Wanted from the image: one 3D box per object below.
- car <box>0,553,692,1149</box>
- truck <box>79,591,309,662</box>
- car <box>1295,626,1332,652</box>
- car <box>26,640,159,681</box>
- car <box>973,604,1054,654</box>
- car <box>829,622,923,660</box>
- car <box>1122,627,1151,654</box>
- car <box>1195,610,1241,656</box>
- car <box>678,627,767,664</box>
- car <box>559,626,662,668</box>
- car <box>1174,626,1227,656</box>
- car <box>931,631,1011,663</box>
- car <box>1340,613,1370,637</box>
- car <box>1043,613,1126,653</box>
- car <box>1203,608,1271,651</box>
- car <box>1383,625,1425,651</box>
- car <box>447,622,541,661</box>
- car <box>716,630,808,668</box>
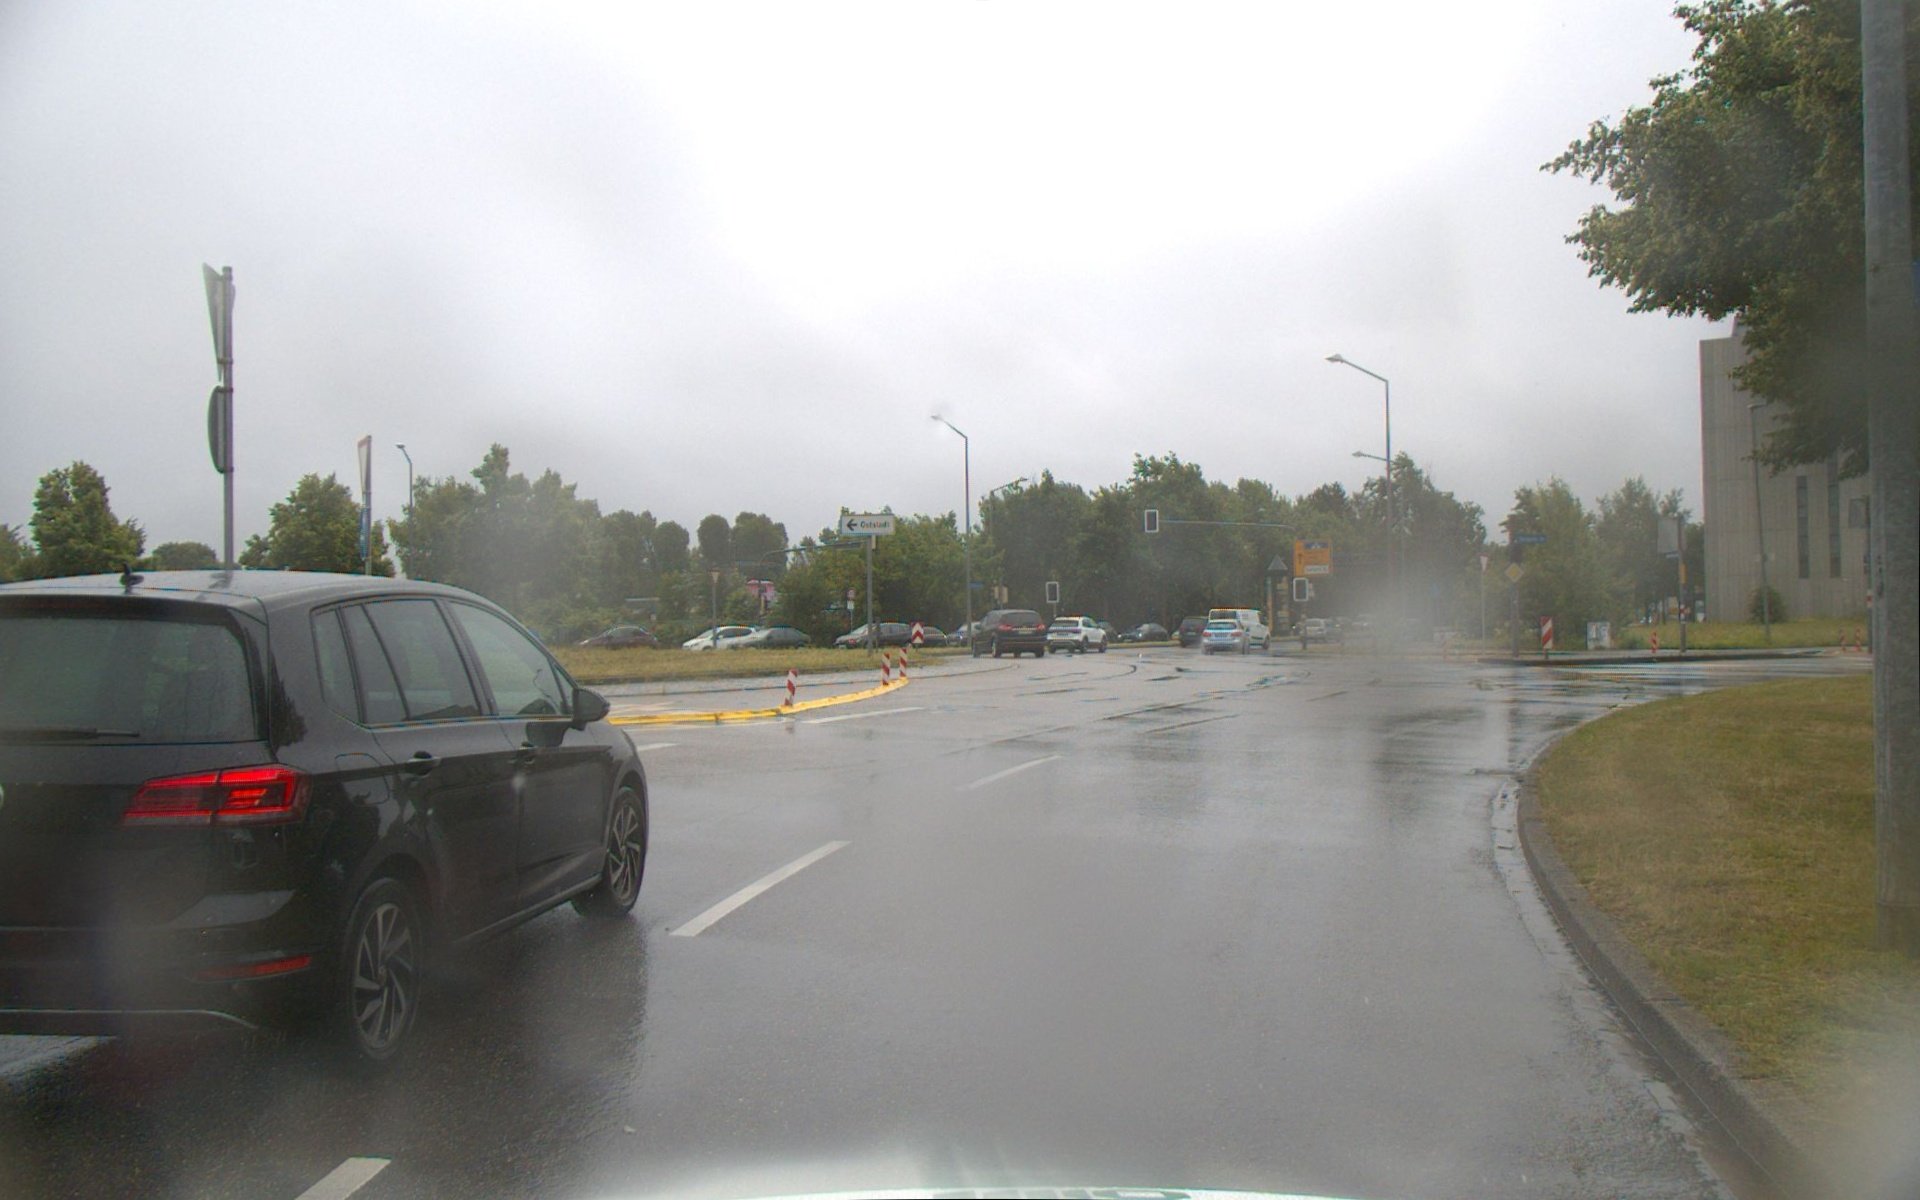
[{"bbox_3d":[-2.431,0.701,6.558,1.746,1.544,4.333,1,-1,3],"label":"car"},{"bbox_3d":[-32.371,1.171,70.286,8.645,2.759,1.987,2,-2,-22],"label":"truck"},{"bbox_3d":[21.910,2.401,102.509,1.654,1.518,3.250,-1,-1,23],"label":"car"},{"bbox_3d":[-33.979,2.364,64.902,4.474,1.518,1.599,2,-2,-24],"label":"car"},{"bbox_3d":[1.853,1.048,58.708,1.754,1.677,3.982,2,-1,-16],"label":"car"},{"bbox_3d":[-3.873,1.910,76.431,3.938,1.677,1.774,2,-2,-26],"label":"car"},{"bbox_3d":[11.320,2.630,106.500,1.745,1.677,4.396,1,-1,5],"label":"car"},{"bbox_3d":[10.791,1.370,69.012,1.745,1.842,4.841,-1,-1,10],"label":"car"},{"bbox_3d":[-11.632,2.233,81.105,3.938,1.677,1.774,2,-2,-26],"label":"car"},{"bbox_3d":[-14.762,1.979,69.958,3.938,1.677,1.774,2,-2,-26],"label":"car"},{"bbox_3d":[12.848,2.200,88.337,1.658,1.518,3.243,0,-2,31],"label":"car"},{"bbox_3d":[0.602,2.496,87.769,3.945,1.602,1.659,2,-2,-31],"label":"car"},{"bbox_3d":[36.349,2.316,152.202,1.754,2.049,3.667,0,-2,29],"label":"car"},{"bbox_3d":[5.588,1.489,73.718,1.656,1.677,3.923,0,-2,41],"label":"car"},{"bbox_3d":[14.071,1.519,83.764,1.754,2.072,3.982,0,-2,37],"label":"car"},{"bbox_3d":[26.583,2.274,99.059,1.657,1.518,3.245,-1,-1,30],"label":"car"},{"bbox_3d":[-21.369,1.893,75.863,3.932,1.677,1.777,2,-2,-23],"label":"car"},{"bbox_3d":[-9.245,2.278,77.240,3.938,1.677,1.774,2,-2,-26],"label":"car"}]
